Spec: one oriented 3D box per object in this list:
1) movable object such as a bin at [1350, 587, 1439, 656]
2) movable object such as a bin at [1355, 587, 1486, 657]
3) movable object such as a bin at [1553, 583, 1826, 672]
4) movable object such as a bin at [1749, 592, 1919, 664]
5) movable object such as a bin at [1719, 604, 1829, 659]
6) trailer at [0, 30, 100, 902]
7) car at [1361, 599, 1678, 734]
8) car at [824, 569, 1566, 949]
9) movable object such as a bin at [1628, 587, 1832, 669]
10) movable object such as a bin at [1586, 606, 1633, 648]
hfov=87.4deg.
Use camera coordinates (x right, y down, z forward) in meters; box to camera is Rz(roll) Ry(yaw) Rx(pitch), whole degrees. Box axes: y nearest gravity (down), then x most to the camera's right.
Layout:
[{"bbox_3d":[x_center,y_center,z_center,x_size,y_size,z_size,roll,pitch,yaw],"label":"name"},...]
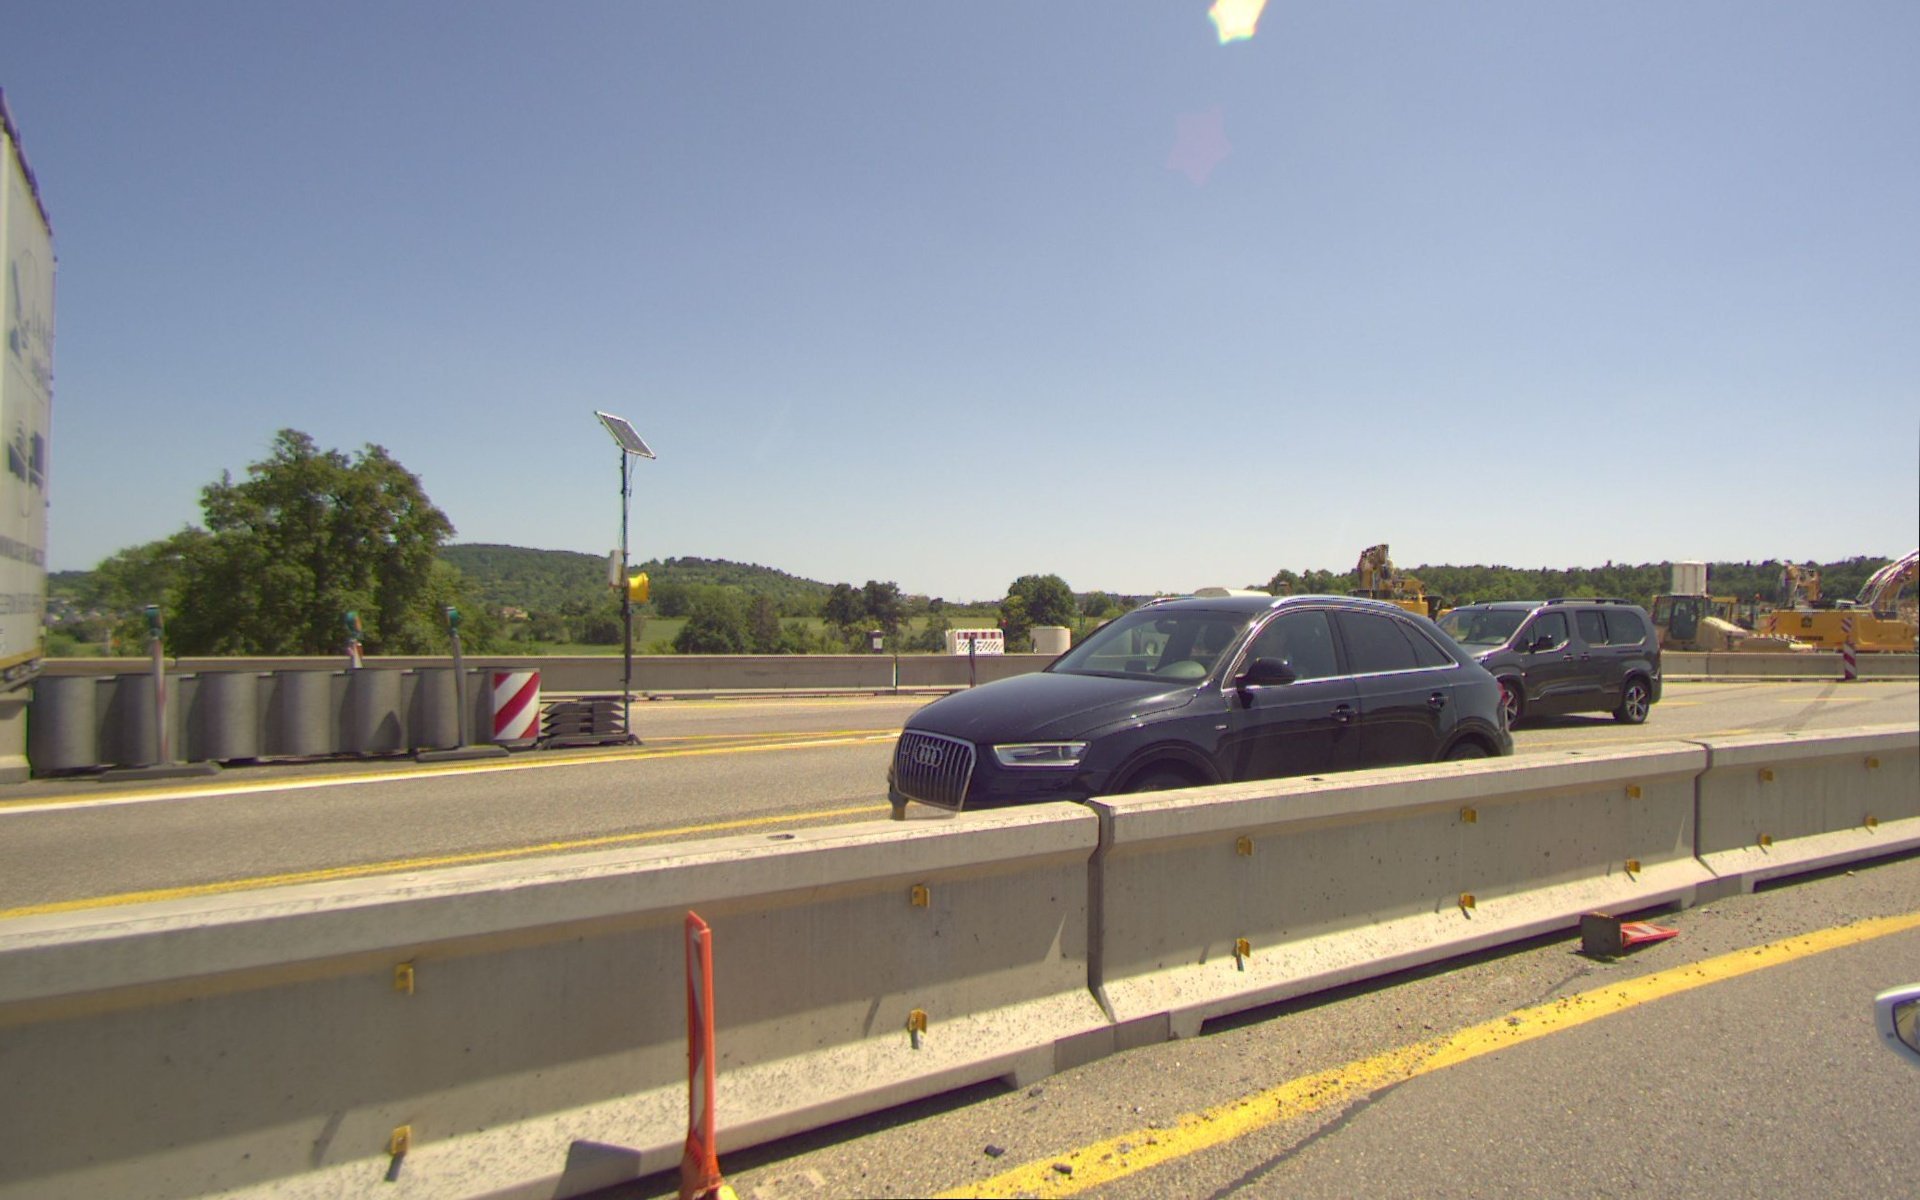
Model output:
[{"bbox_3d":[19.119,0.894,44.400,2.822,2.764,3.363,3,2,11],"label":"movable object such as a bin"},{"bbox_3d":[24.090,1.089,52.560,5.497,3.300,3.771,1,3,-33],"label":"movable object such as a bin"},{"bbox_3d":[25.383,0.805,35.695,3.646,2.465,7.926,3,2,-2],"label":"movable object such as a bin"},{"bbox_3d":[35.028,1.101,39.932,5.356,2.473,3.287,2,3,-19],"label":"movable object such as a bin"},{"bbox_3d":[48.499,1.810,59.869,4.935,3.066,3.646,-1,0,-31],"label":"movable object such as a bin"},{"bbox_3d":[-10.760,-0.740,1.805,13.792,4.184,2.892,1,0,-38],"label":"trailer"},{"bbox_3d":[8.419,0.944,15.070,4.645,1.788,1.770,1,-1,-25],"label":"car"},{"bbox_3d":[1.647,0.753,6.299,4.656,1.629,1.759,2,-2,-31],"label":"car"},{"bbox_3d":[30.514,1.011,40.179,2.762,2.800,6.056,2,2,-11],"label":"movable object such as a bin"},{"bbox_3d":[54.634,2.222,84.439,2.393,3.168,5.454,6,4,40],"label":"movable object such as a bin"}]
